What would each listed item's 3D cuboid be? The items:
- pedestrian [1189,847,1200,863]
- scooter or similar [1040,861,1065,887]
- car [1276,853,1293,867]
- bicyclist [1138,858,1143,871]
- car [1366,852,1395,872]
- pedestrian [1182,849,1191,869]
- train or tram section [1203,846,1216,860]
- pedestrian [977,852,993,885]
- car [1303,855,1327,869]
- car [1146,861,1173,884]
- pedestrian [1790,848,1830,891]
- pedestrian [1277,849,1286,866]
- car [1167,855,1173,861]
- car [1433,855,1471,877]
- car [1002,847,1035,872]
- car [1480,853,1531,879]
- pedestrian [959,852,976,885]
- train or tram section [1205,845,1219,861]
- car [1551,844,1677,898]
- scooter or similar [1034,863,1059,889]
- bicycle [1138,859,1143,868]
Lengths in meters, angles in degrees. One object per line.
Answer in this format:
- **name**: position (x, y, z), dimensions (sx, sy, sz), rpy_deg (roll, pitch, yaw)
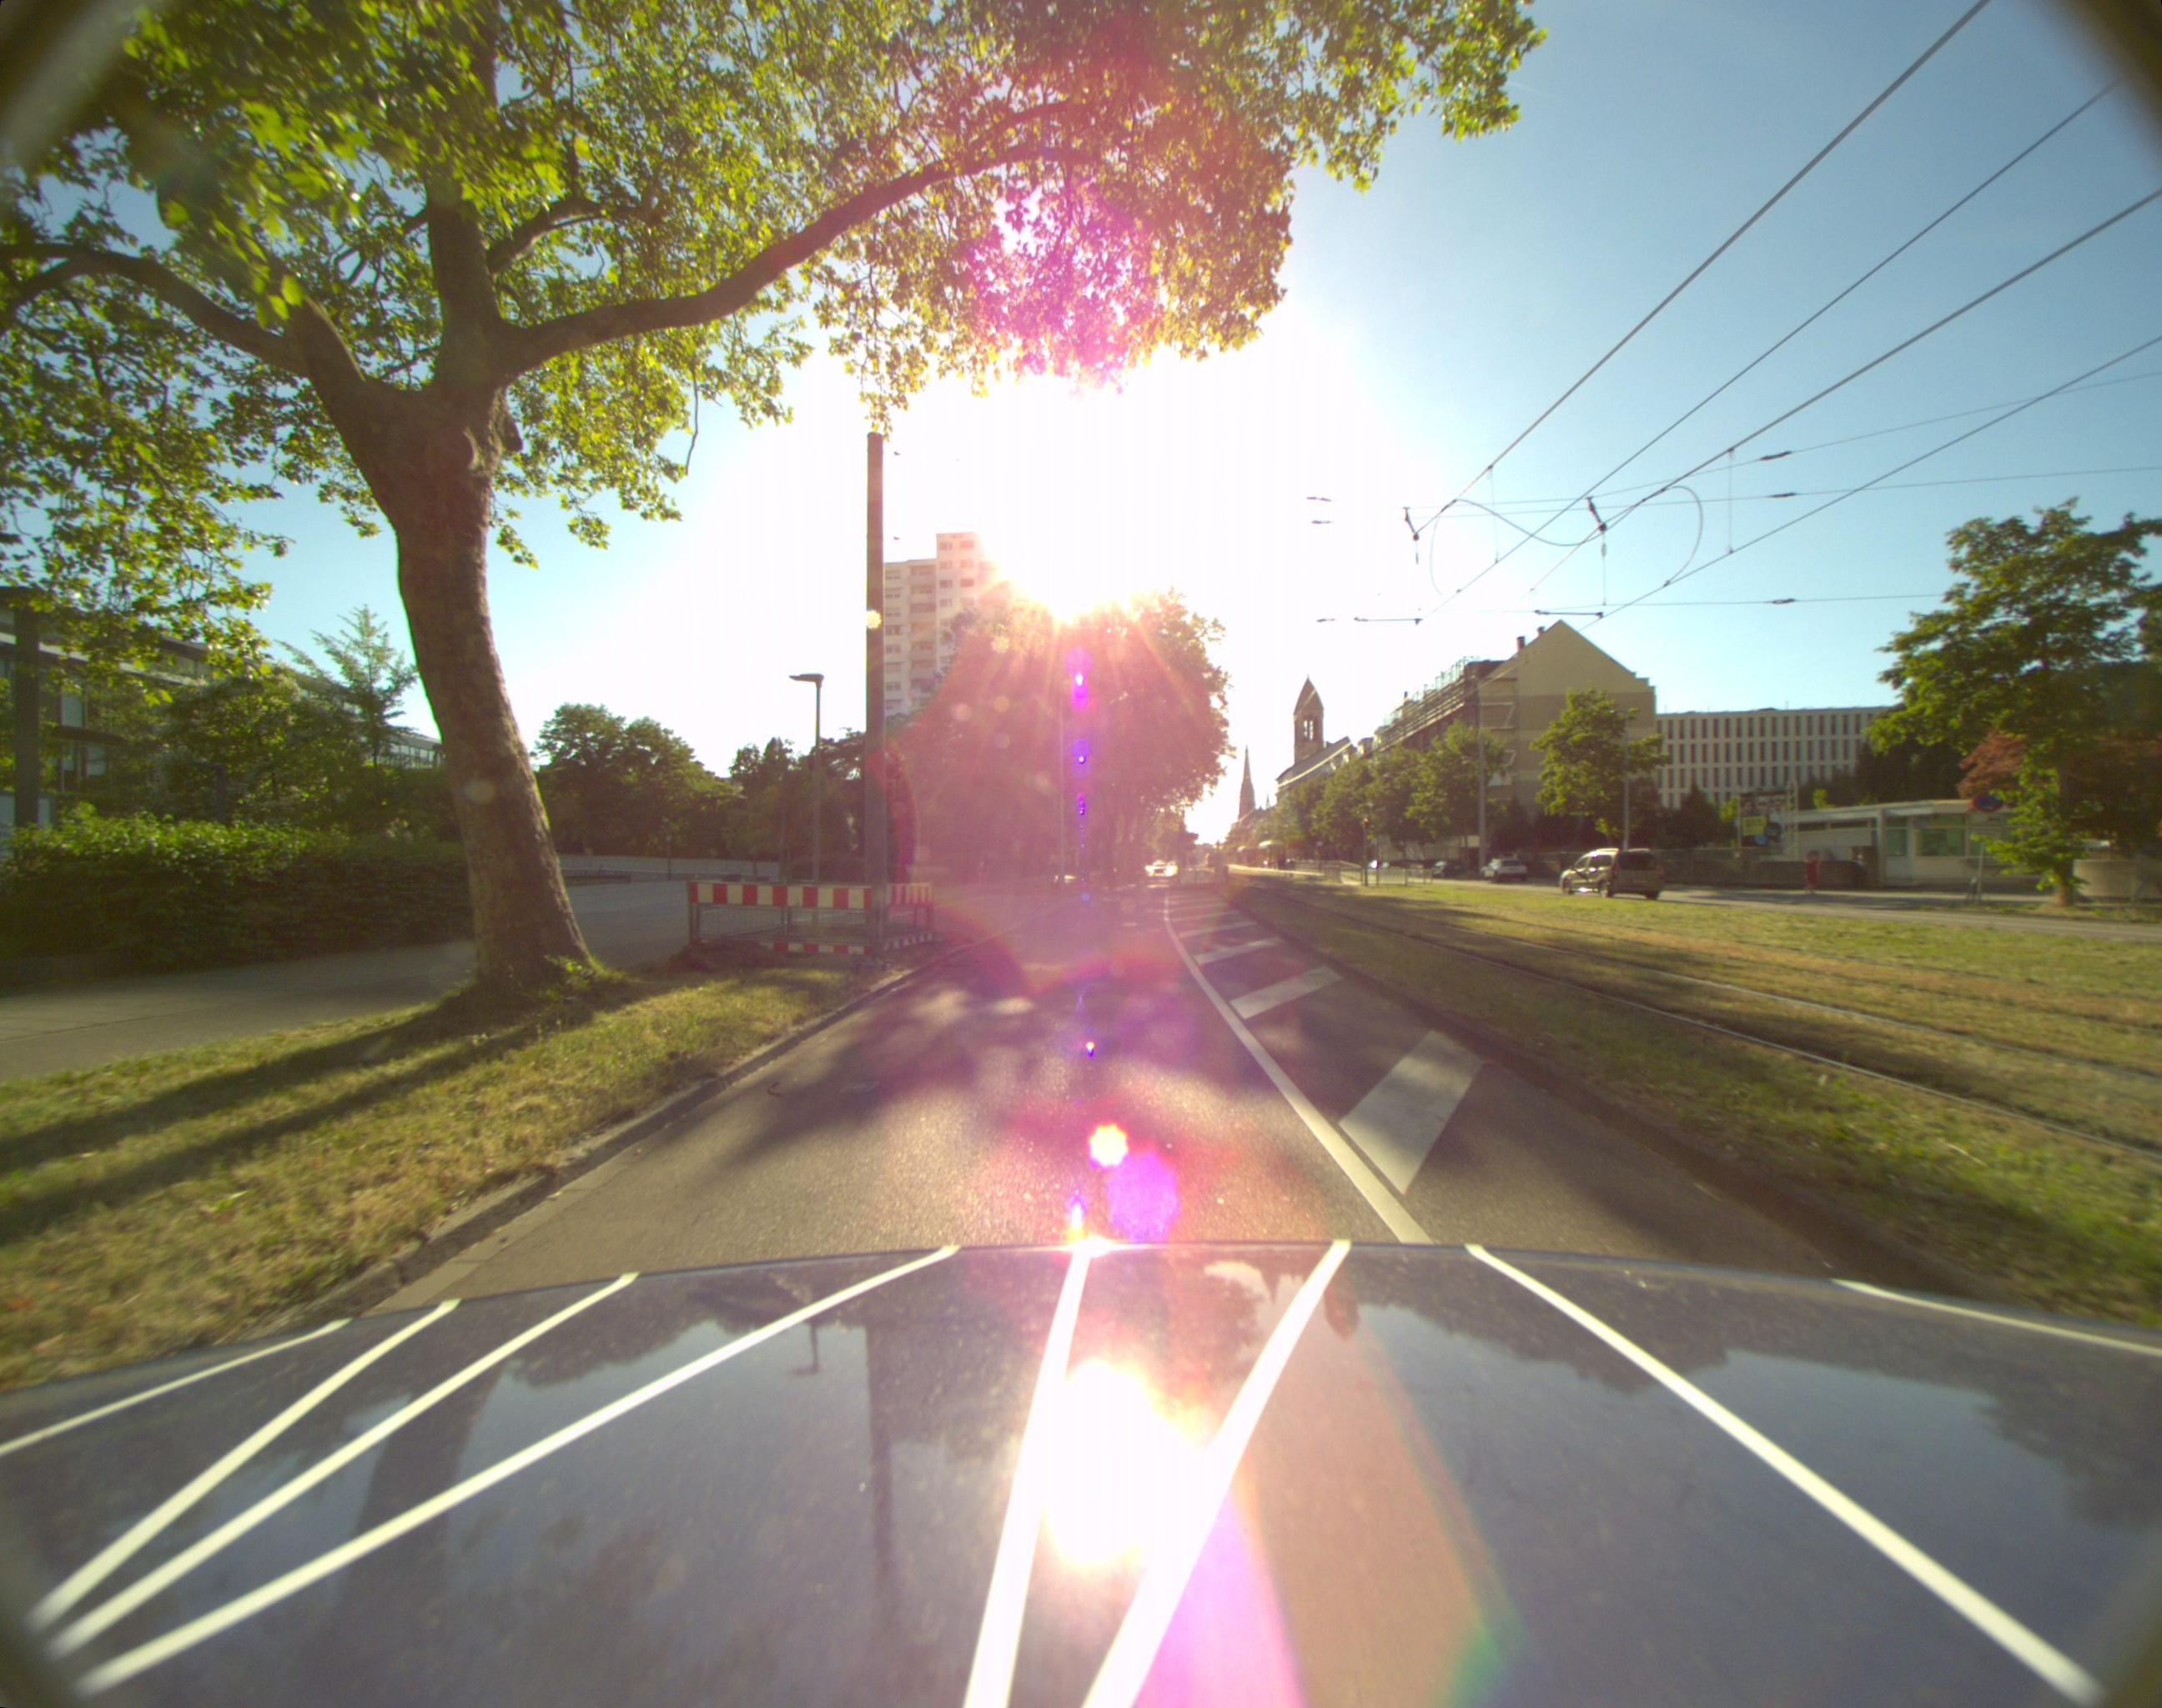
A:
- **pedestrian**: position (12.153, 0.113, 81.577), dimensions (0.911, 1.711, 0.630), rpy_deg (-3, 0, -26)
- **scooter or similar**: position (-1.415, 0.998, 37.912), dimensions (1.053, 1.237, 0.842), rpy_deg (0, 1, 10)
- **car**: position (28.646, 0.812, 106.879), dimensions (1.867, 1.795, 4.030), rpy_deg (-3, 0, 9)
- **bicyclist**: position (7.133, 1.277, 90.675), dimensions (0.604, 1.542, 0.860), rpy_deg (-1, 0, 6)
- **car**: position (32.221, 0.859, 81.842), dimensions (1.997, 2.002, 4.003), rpy_deg (-3, 0, 9)
- **pedestrian**: position (9.188, 0.466, 66.230), dimensions (0.758, 1.680, 0.679), rpy_deg (-3, 0, 7)
- **train or tram section**: position (34.355, -0.175, 203.594), dimensions (2.875, 3.654, 14.569), rpy_deg (0, 0, 7)
- **pedestrian**: position (-4.828, 0.707, 38.128), dimensions (0.629, 1.647, 0.740), rpy_deg (1, 1, 7)
- **car**: position (23.913, 0.790, 77.783), dimensions (1.609, 1.399, 3.853), rpy_deg (-3, 0, 7)
- **car**: position (7.052, 1.619, 68.541), dimensions (1.943, 1.907, 4.473), rpy_deg (-3, 0, 1)
- **pedestrian**: position (28.417, 0.596, 29.625), dimensions (0.726, 1.638, 0.813), rpy_deg (1, 0, 1)
- **pedestrian**: position (20.635, 0.366, 78.103), dimensions (0.680, 1.680, 0.655), rpy_deg (-3, 0, 5)
- **car**: position (23.760, 1.033, 203.242), dimensions (1.635, 1.491, 4.002), rpy_deg (2, 0, 7)
- **car**: position (29.898, 0.953, 61.323), dimensions (1.724, 1.577, 4.068), rpy_deg (-3, 0, 11)
- **car**: position (-6.658, 0.537, 81.647), dimensions (1.997, 2.484, 6.351), rpy_deg (-3, 0, 9)
- **car**: position (28.166, 0.777, 50.508), dimensions (1.724, 1.577, 4.068), rpy_deg (-3, 0, 11)
- **pedestrian**: position (-5.701, 0.720, 38.270), dimensions (0.651, 1.647, 0.783), rpy_deg (1, 0, 7)
- **train or tram section**: position (32.470, -0.199, 189.164), dimensions (2.875, 3.664, 14.569), rpy_deg (0, 0, 7)
- **car**: position (20.227, 0.605, 29.093), dimensions (1.943, 1.907, 4.474), rpy_deg (0, 0, 5)
- **scooter or similar**: position (-1.673, 1.066, 37.045), dimensions (1.053, 1.237, 0.842), rpy_deg (0, 1, 10)
- **bicycle**: position (7.119, 1.172, 90.608), dimensions (0.604, 1.020, 1.767), rpy_deg (-1, 0, 6)
